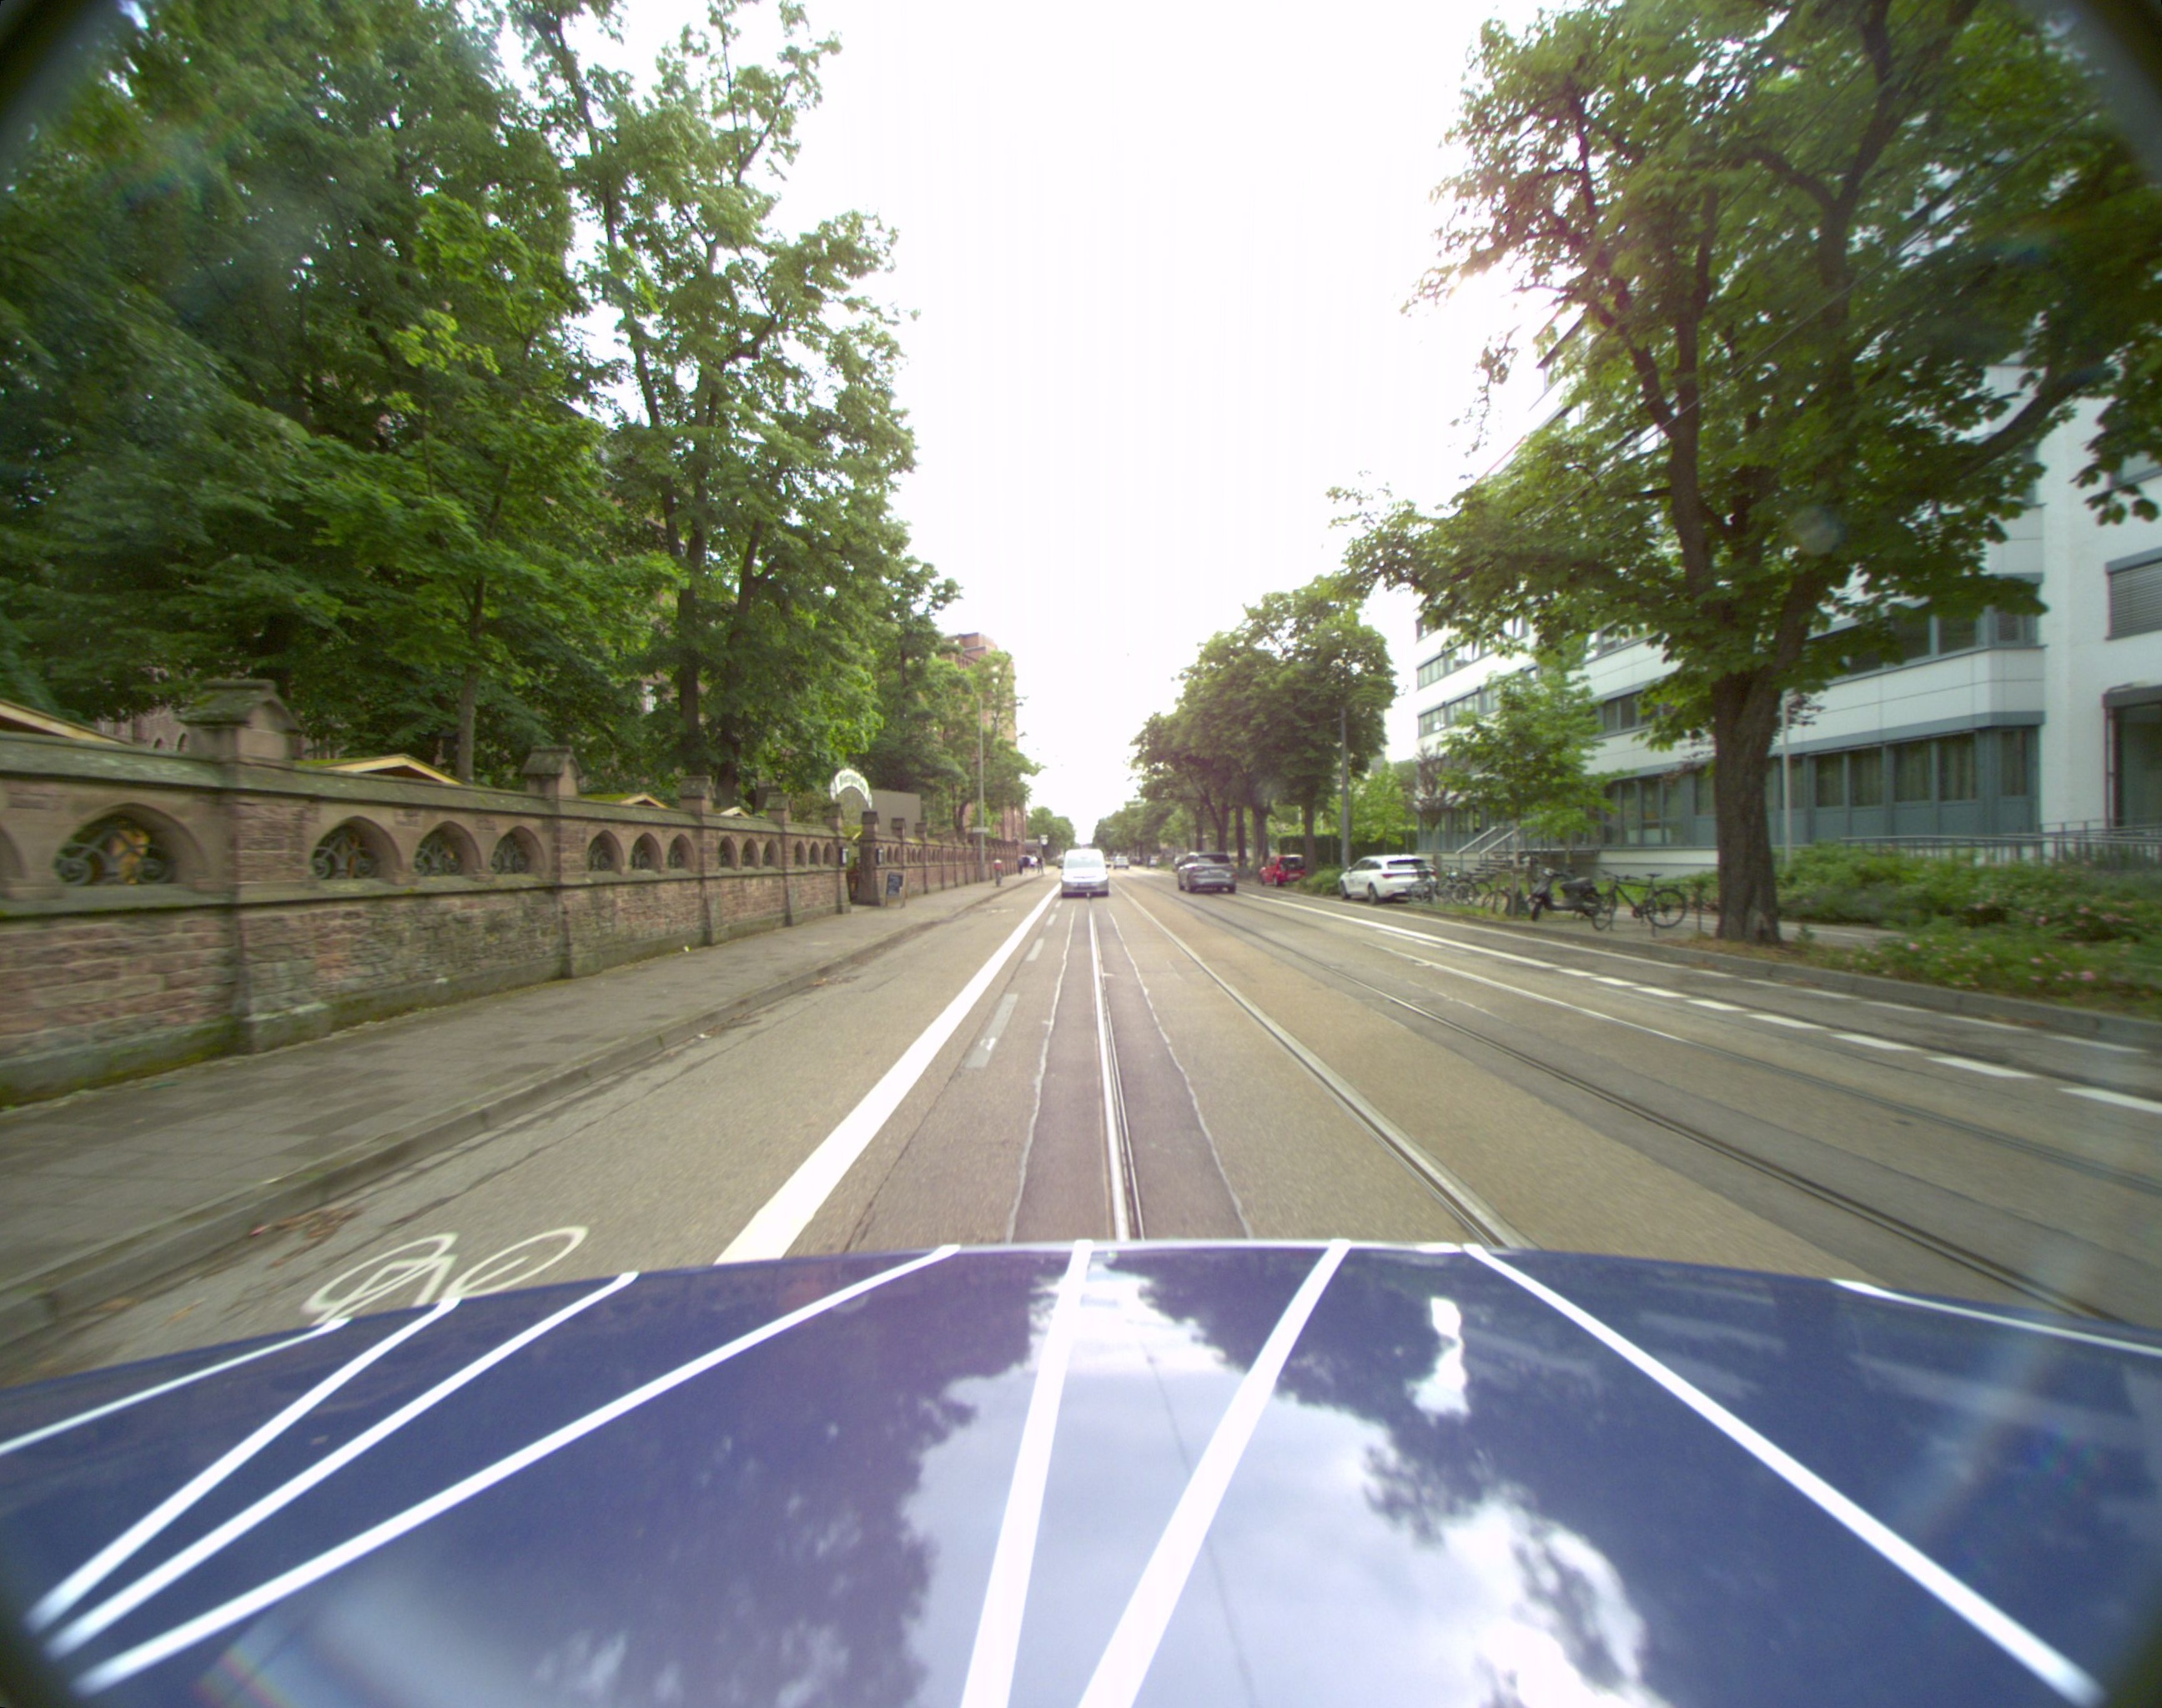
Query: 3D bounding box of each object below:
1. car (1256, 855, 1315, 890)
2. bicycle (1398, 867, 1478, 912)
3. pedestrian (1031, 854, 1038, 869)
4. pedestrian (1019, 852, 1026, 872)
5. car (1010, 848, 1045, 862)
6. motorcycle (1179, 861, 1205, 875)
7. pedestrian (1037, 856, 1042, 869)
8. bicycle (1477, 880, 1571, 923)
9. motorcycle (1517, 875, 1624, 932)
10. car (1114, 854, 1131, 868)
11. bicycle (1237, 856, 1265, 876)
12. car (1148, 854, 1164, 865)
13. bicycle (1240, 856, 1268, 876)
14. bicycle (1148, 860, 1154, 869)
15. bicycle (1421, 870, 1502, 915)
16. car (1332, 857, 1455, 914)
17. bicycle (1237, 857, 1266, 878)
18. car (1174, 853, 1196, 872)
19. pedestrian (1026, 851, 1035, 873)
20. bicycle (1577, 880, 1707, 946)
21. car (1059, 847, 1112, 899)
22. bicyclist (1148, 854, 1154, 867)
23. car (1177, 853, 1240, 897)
[{"bbox_3d":[9.894,0.861,37.108,1.632,1.439,3.756,-4,1,-3],"label":"car"},{"bbox_3d":[9.780,0.963,20.857,1.868,1.180,0.632,0,1,5],"label":"bicycle"},{"bbox_3d":[-5.369,0.858,87.733,0.669,1.703,0.997,2,1,-2],"label":"pedestrian"},{"bbox_3d":[-5.007,0.679,64.989,0.559,1.646,0.771,0,1,-2],"label":"pedestrian"},{"bbox_3d":[-6.895,0.137,97.987,3.993,1.609,2.002,2,1,12],"label":"car"},{"bbox_3d":[9.698,1.213,66.168,2.128,1.096,0.776,-2,1,42],"label":"motorcycle"},{"bbox_3d":[-4.771,0.971,87.990,0.529,1.548,0.489,2,1,-2],"label":"pedestrian"},{"bbox_3d":[10.082,1.068,17.303,1.811,0.894,0.632,0,1,-6],"label":"bicycle"},{"bbox_3d":[10.070,1.007,15.660,1.793,1.044,0.732,-2,1,-6],"label":"motorcycle"},{"bbox_3d":[5.013,0.823,92.224,1.745,1.490,4.260,-1,0,-1],"label":"car"},{"bbox_3d":[10.154,0.710,45.377,1.473,1.134,0.617,-3,1,-1],"label":"bicycle"},{"bbox_3d":[10.499,0.758,106.562,1.849,1.425,3.951,-3,1,0],"label":"car"},{"bbox_3d":[10.197,0.715,44.872,1.473,1.134,0.617,-1,1,-1],"label":"bicycle"},{"bbox_3d":[8.204,1.230,89.185,0.636,1.045,1.994,-3,1,5],"label":"bicycle"},{"bbox_3d":[9.849,0.991,19.697,1.811,1.094,0.632,0,1,-6],"label":"bicycle"},{"bbox_3d":[9.658,0.910,23.946,1.886,1.485,4.753,-3,0,1],"label":"car"},{"bbox_3d":[9.858,0.772,43.873,1.474,1.085,0.616,-3,1,-12],"label":"bicycle"},{"bbox_3d":[10.215,0.850,74.884,1.815,1.699,4.000,-3,1,4],"label":"car"},{"bbox_3d":[-4.357,0.703,65.042,0.723,1.834,0.897,0,1,-2],"label":"pedestrian"},{"bbox_3d":[9.912,1.018,13.450,1.834,1.047,0.741,-1,0,-8],"label":"bicycle"},{"bbox_3d":[0.190,0.669,30.449,1.850,1.797,4.936,-3,1,1],"label":"car"},{"bbox_3d":[8.180,0.748,89.173,0.636,1.528,0.955,-3,1,5],"label":"bicyclist"},{"bbox_3d":[5.083,0.786,30.787,1.846,1.644,4.389,1,0,1],"label":"car"}]
